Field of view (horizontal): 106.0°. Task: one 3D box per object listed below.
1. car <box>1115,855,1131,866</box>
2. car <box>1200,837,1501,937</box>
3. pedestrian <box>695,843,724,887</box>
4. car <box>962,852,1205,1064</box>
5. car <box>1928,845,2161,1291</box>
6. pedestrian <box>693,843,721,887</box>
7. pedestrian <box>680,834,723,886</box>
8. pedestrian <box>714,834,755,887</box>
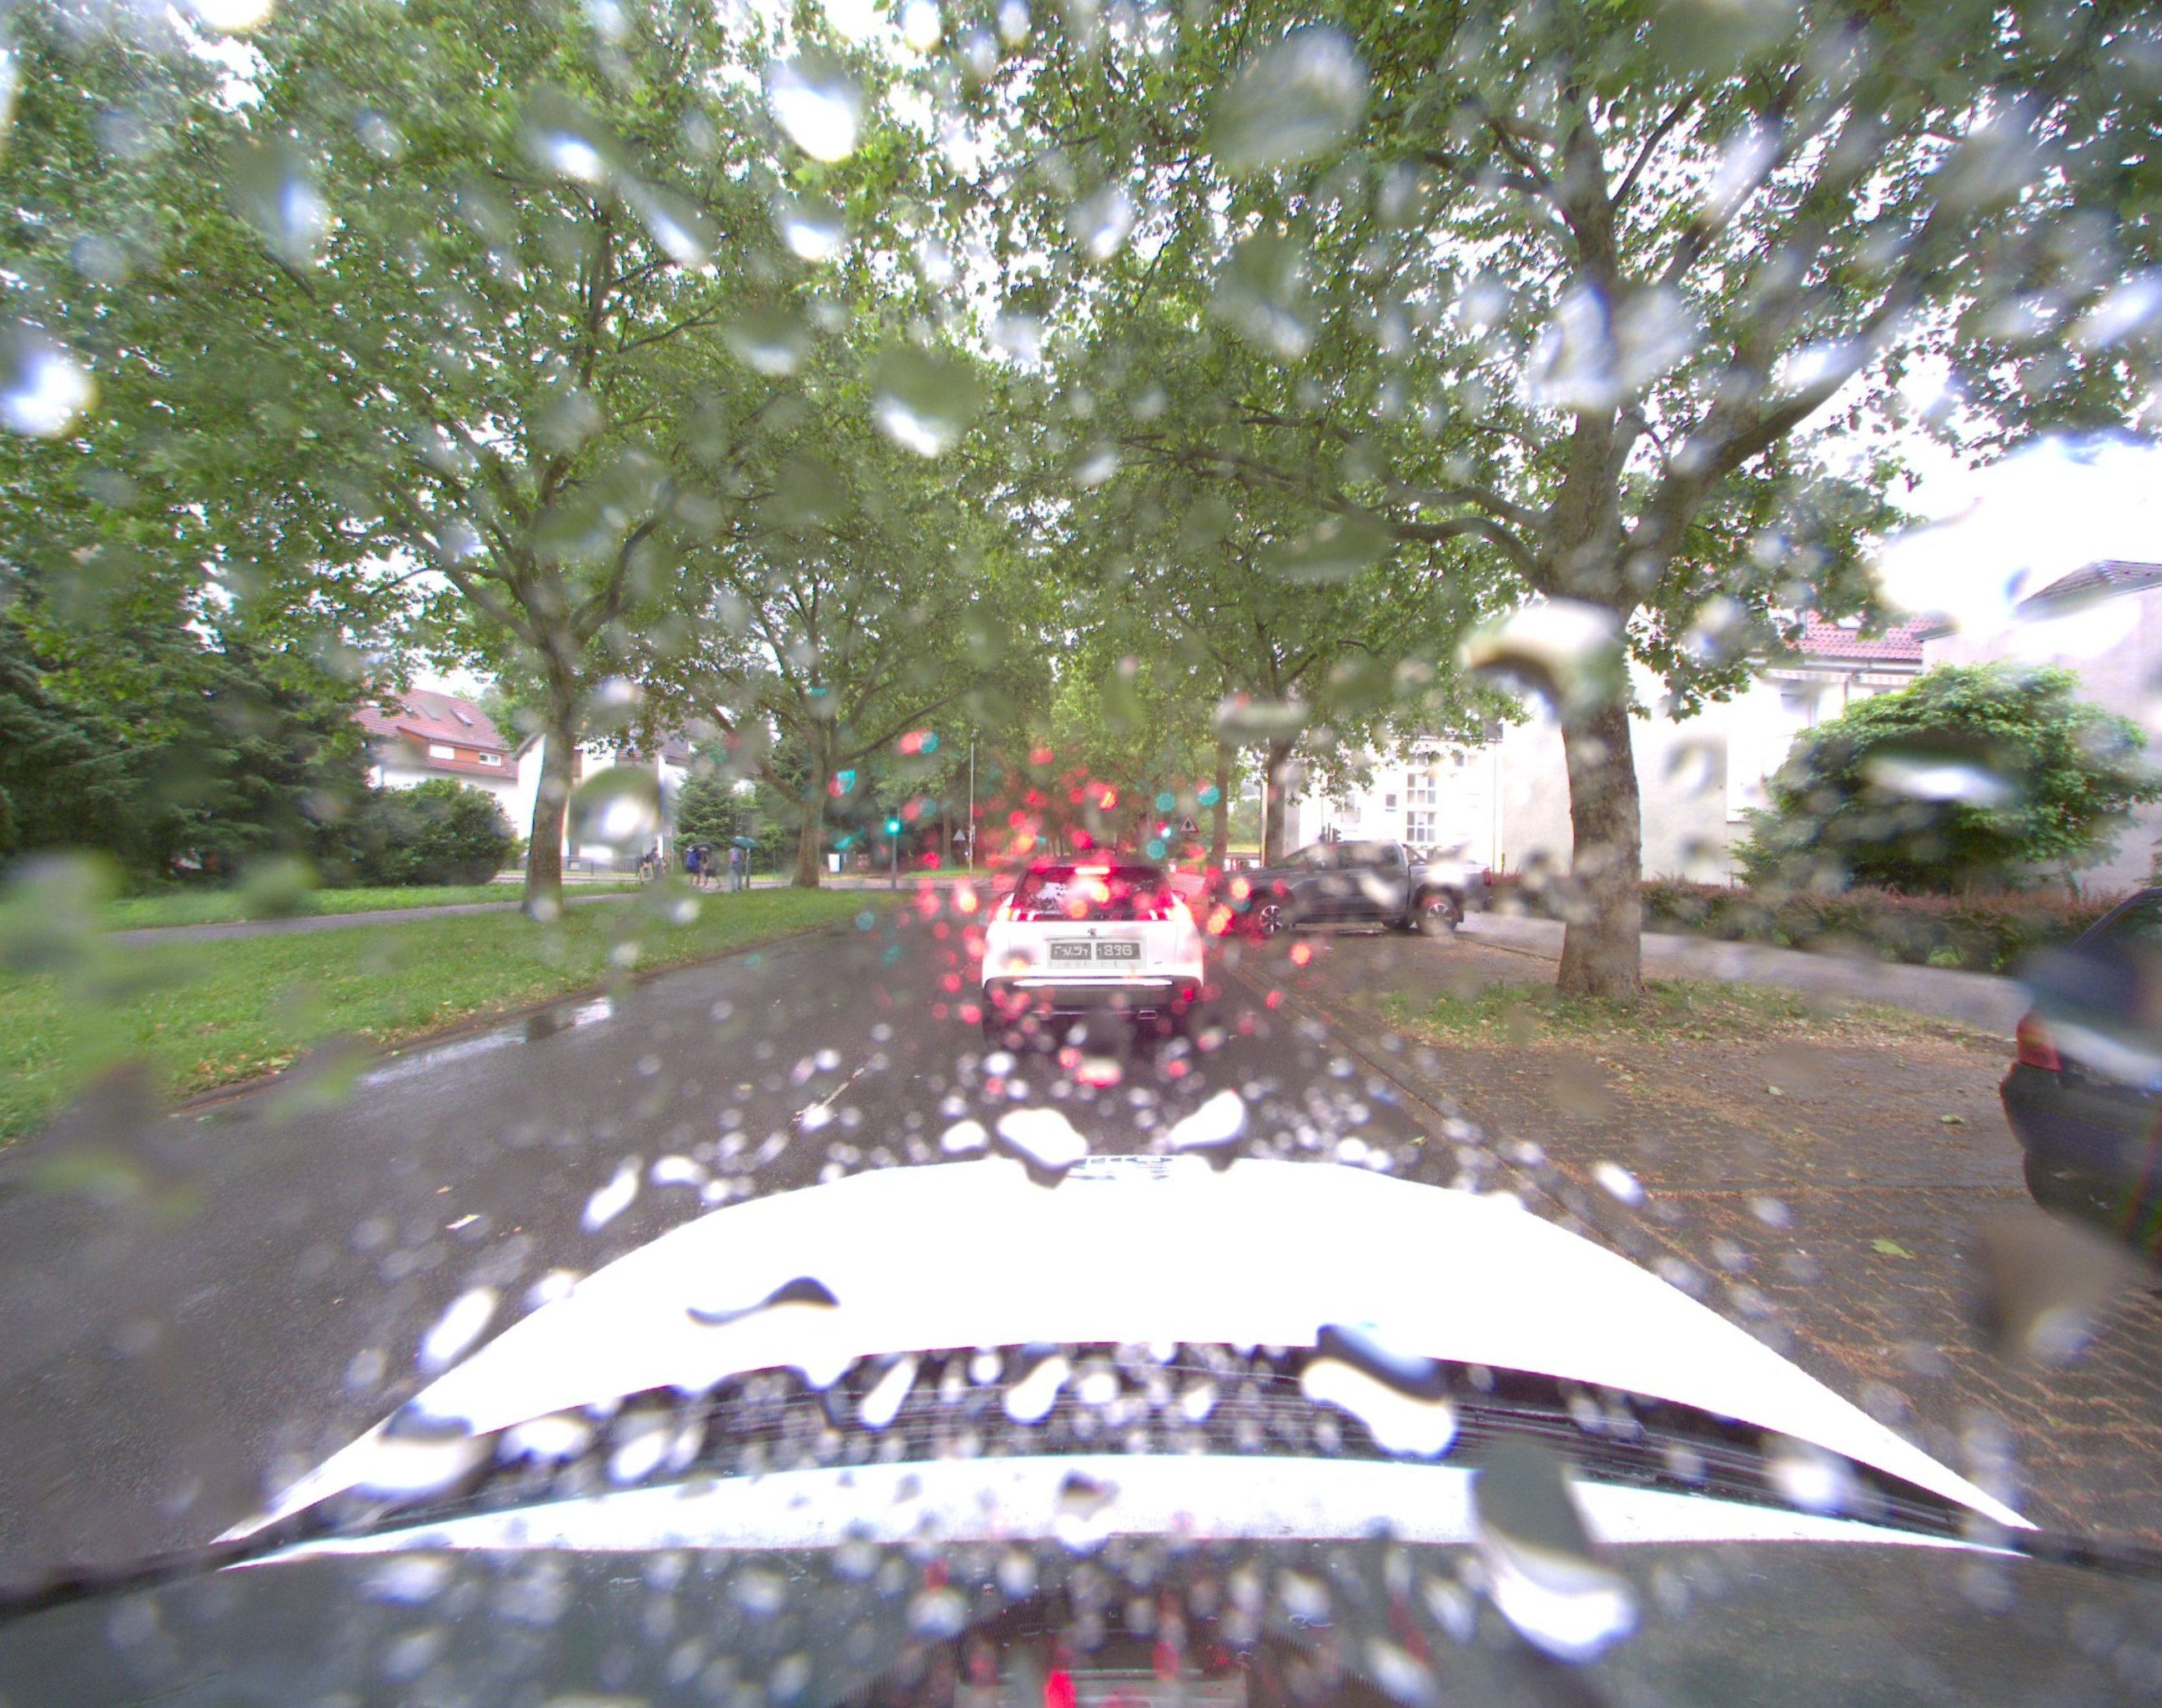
[{"bbox_3d":[5.728,0.884,111.816,1.901,1.510,3.928,1,0,-2],"label":"car"},{"bbox_3d":[5.163,0.597,15.957,5.330,1.807,1.842,0,0,-6],"label":"car"},{"bbox_3d":[-15.140,0.437,33.208,0.856,1.744,0.639,1,0,-2],"label":"pedestrian"},{"bbox_3d":[0.071,0.754,7.967,1.774,1.536,4.059,0,0,1],"label":"car"},{"bbox_3d":[5.220,0.709,2.620,3.344,1.464,1.618,0,0,0],"label":"car"},{"bbox_3d":[-14.787,0.436,32.218,0.818,1.744,0.639,1,0,-2],"label":"pedestrian"},{"bbox_3d":[-12.954,0.206,27.819,1.029,1.765,0.879,0,0,1],"label":"pedestrian"},{"bbox_3d":[-11.812,0.213,27.782,1.029,1.765,0.838,0,0,1],"label":"pedestrian"}]
